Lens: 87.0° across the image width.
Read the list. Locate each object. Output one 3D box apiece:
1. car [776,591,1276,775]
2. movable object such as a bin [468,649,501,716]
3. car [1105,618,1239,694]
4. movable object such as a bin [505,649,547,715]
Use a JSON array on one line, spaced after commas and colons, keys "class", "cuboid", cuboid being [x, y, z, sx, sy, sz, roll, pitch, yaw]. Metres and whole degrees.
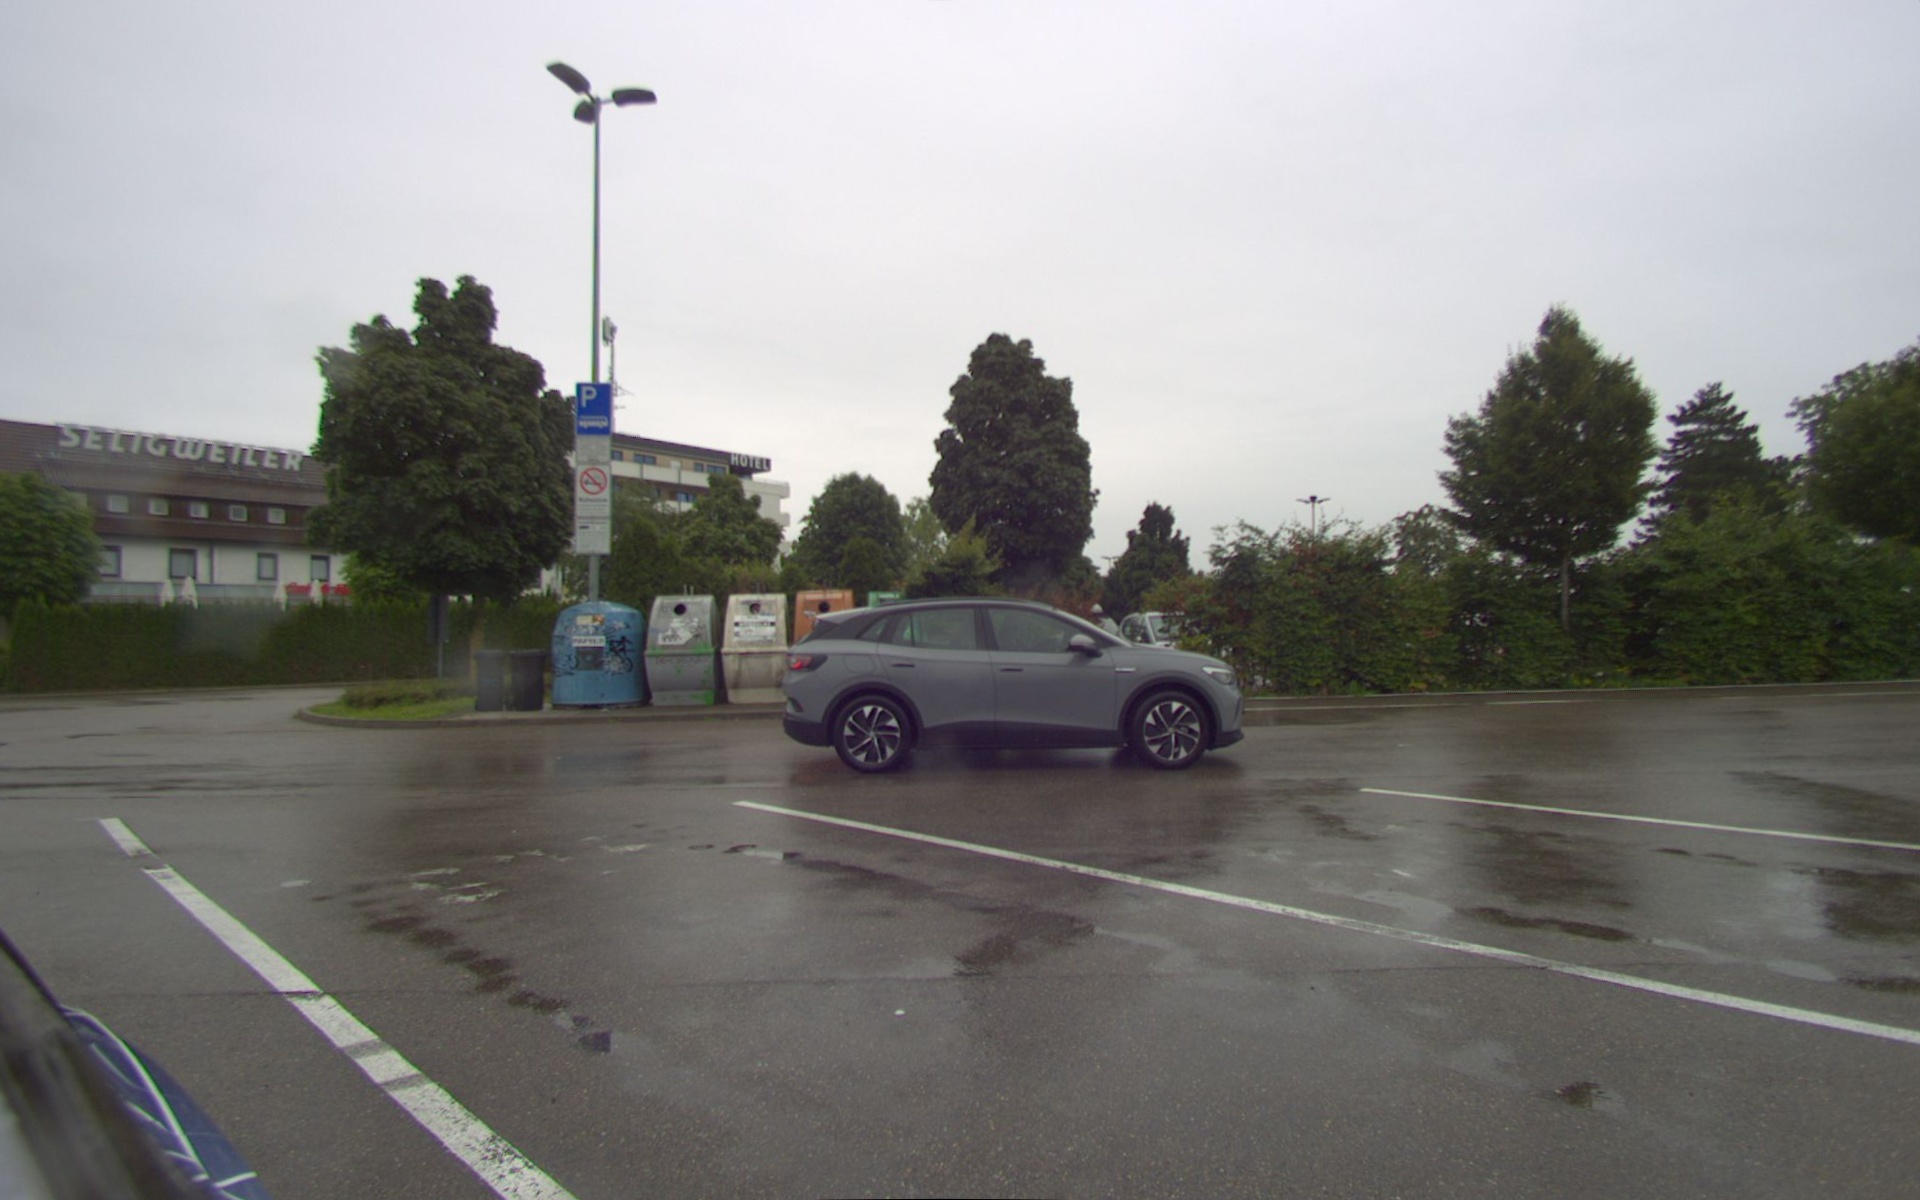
[{"class": "car", "cuboid": [0.591, 0.773, 10.065, 4.440, 1.586, 1.998, -1, -1, 3]}, {"class": "movable object such as a bin", "cuboid": [-7.165, 1.236, 15.250, 0.427, 0.956, 0.474, -1, -1, -25]}, {"class": "car", "cuboid": [3.973, 1.020, 19.569, 1.782, 1.278, 3.647, -1, -1, 0]}, {"class": "movable object such as a bin", "cuboid": [-6.520, 1.222, 15.201, 0.450, 0.956, 0.400, -3, -1, 41]}]
